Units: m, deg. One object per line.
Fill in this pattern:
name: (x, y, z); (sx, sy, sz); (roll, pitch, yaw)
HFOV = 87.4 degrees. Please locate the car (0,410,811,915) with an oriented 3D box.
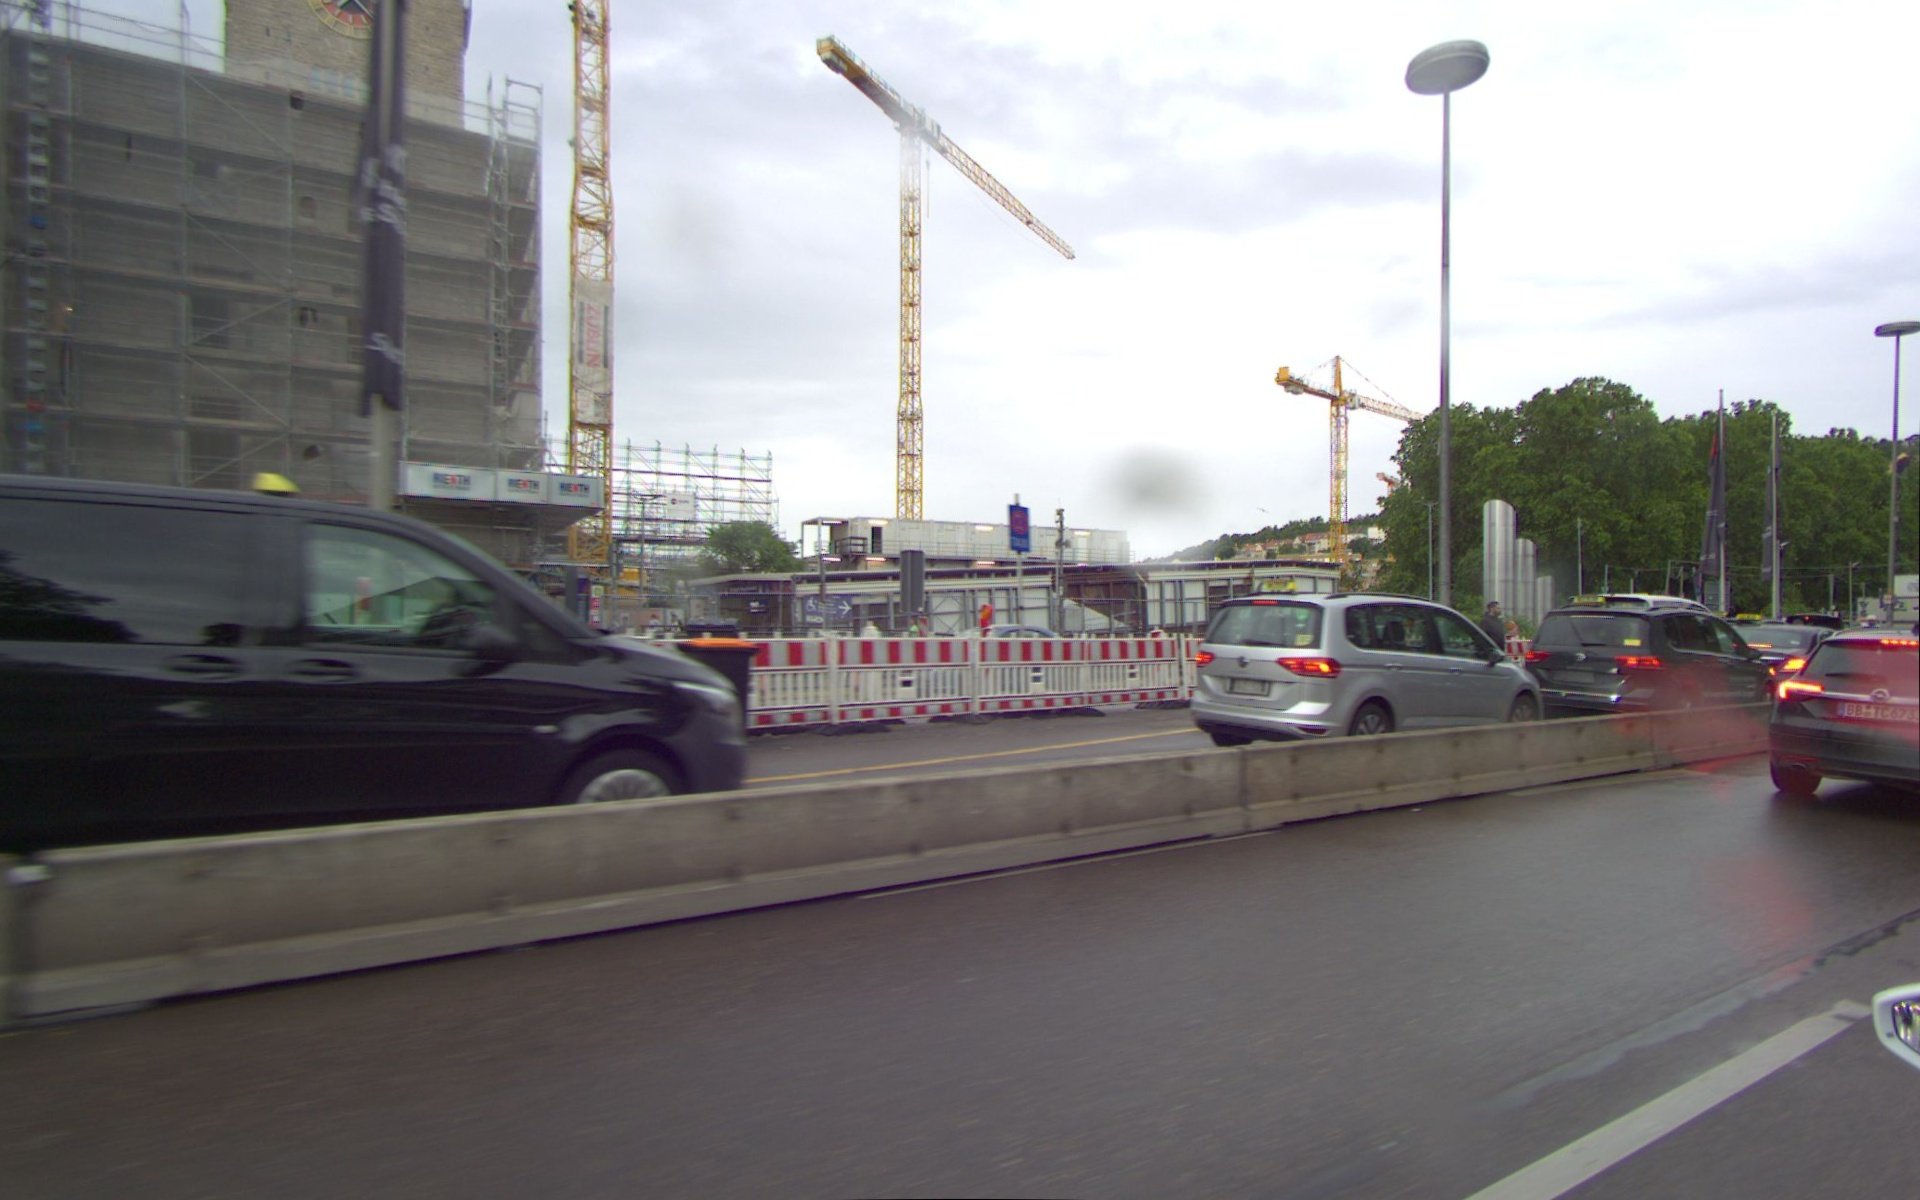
car: (-3.461, 0.243, 4.990); (5.011, 1.870, 1.981); (2, 0, -35)

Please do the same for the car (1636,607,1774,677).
car: (19.269, 1.052, 25.922); (4.016, 1.651, 1.703); (2, 0, -36)

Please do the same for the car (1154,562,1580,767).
car: (4.374, 0.592, 10.487); (4.725, 1.718, 1.812); (2, 0, -35)

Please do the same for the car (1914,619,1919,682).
car: (26.122, 1.292, 25.631); (4.115, 1.550, 1.979); (2, -3, -38)

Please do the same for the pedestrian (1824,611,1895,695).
pedestrian: (22.279, 1.293, 24.886); (0.820, 2.040, 1.028); (1, 0, -2)

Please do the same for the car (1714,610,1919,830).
car: (8.568, 0.901, 8.646); (4.801, 1.528, 1.866); (1, -1, -34)

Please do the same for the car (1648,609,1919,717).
car: (13.720, 0.989, 16.627); (4.948, 1.531, 1.962); (2, 0, -31)

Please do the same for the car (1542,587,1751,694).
car: (14.780, 0.831, 21.515); (5.317, 2.040, 1.980); (2, 0, -36)

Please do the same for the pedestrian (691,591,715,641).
pedestrian: (-9.960, 0.630, 38.955); (0.718, 1.906, 0.640); (1, -2, -1)

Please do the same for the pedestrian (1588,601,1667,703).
pedestrian: (12.234, 0.933, 18.423); (1.015, 1.807, 0.830); (1, 0, -28)

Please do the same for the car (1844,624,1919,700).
car: (21.745, 1.352, 22.361); (4.826, 1.588, 1.981); (2, -3, -35)

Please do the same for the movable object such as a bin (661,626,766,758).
movable object such as a bin: (-2.398, 0.864, 9.766); (0.760, 1.177, 0.665); (1, 1, -37)

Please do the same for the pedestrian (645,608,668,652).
pedestrian: (-13.286, 1.321, 43.993); (0.788, 1.906, 0.659); (1, -2, -1)

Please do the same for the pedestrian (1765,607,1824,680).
pedestrian: (20.130, 1.032, 24.260); (1.011, 1.704, 0.833); (0, 0, 35)

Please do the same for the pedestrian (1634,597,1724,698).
pedestrian: (12.520, 0.805, 17.499); (0.826, 1.697, 1.020); (1, 0, -28)

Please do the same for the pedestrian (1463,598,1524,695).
pedestrian: (10.024, 0.856, 18.887); (0.812, 1.777, 0.632); (2, 0, -28)

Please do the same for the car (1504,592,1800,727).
car: (9.424, 0.740, 13.569); (4.445, 1.531, 1.812); (2, 0, -35)
